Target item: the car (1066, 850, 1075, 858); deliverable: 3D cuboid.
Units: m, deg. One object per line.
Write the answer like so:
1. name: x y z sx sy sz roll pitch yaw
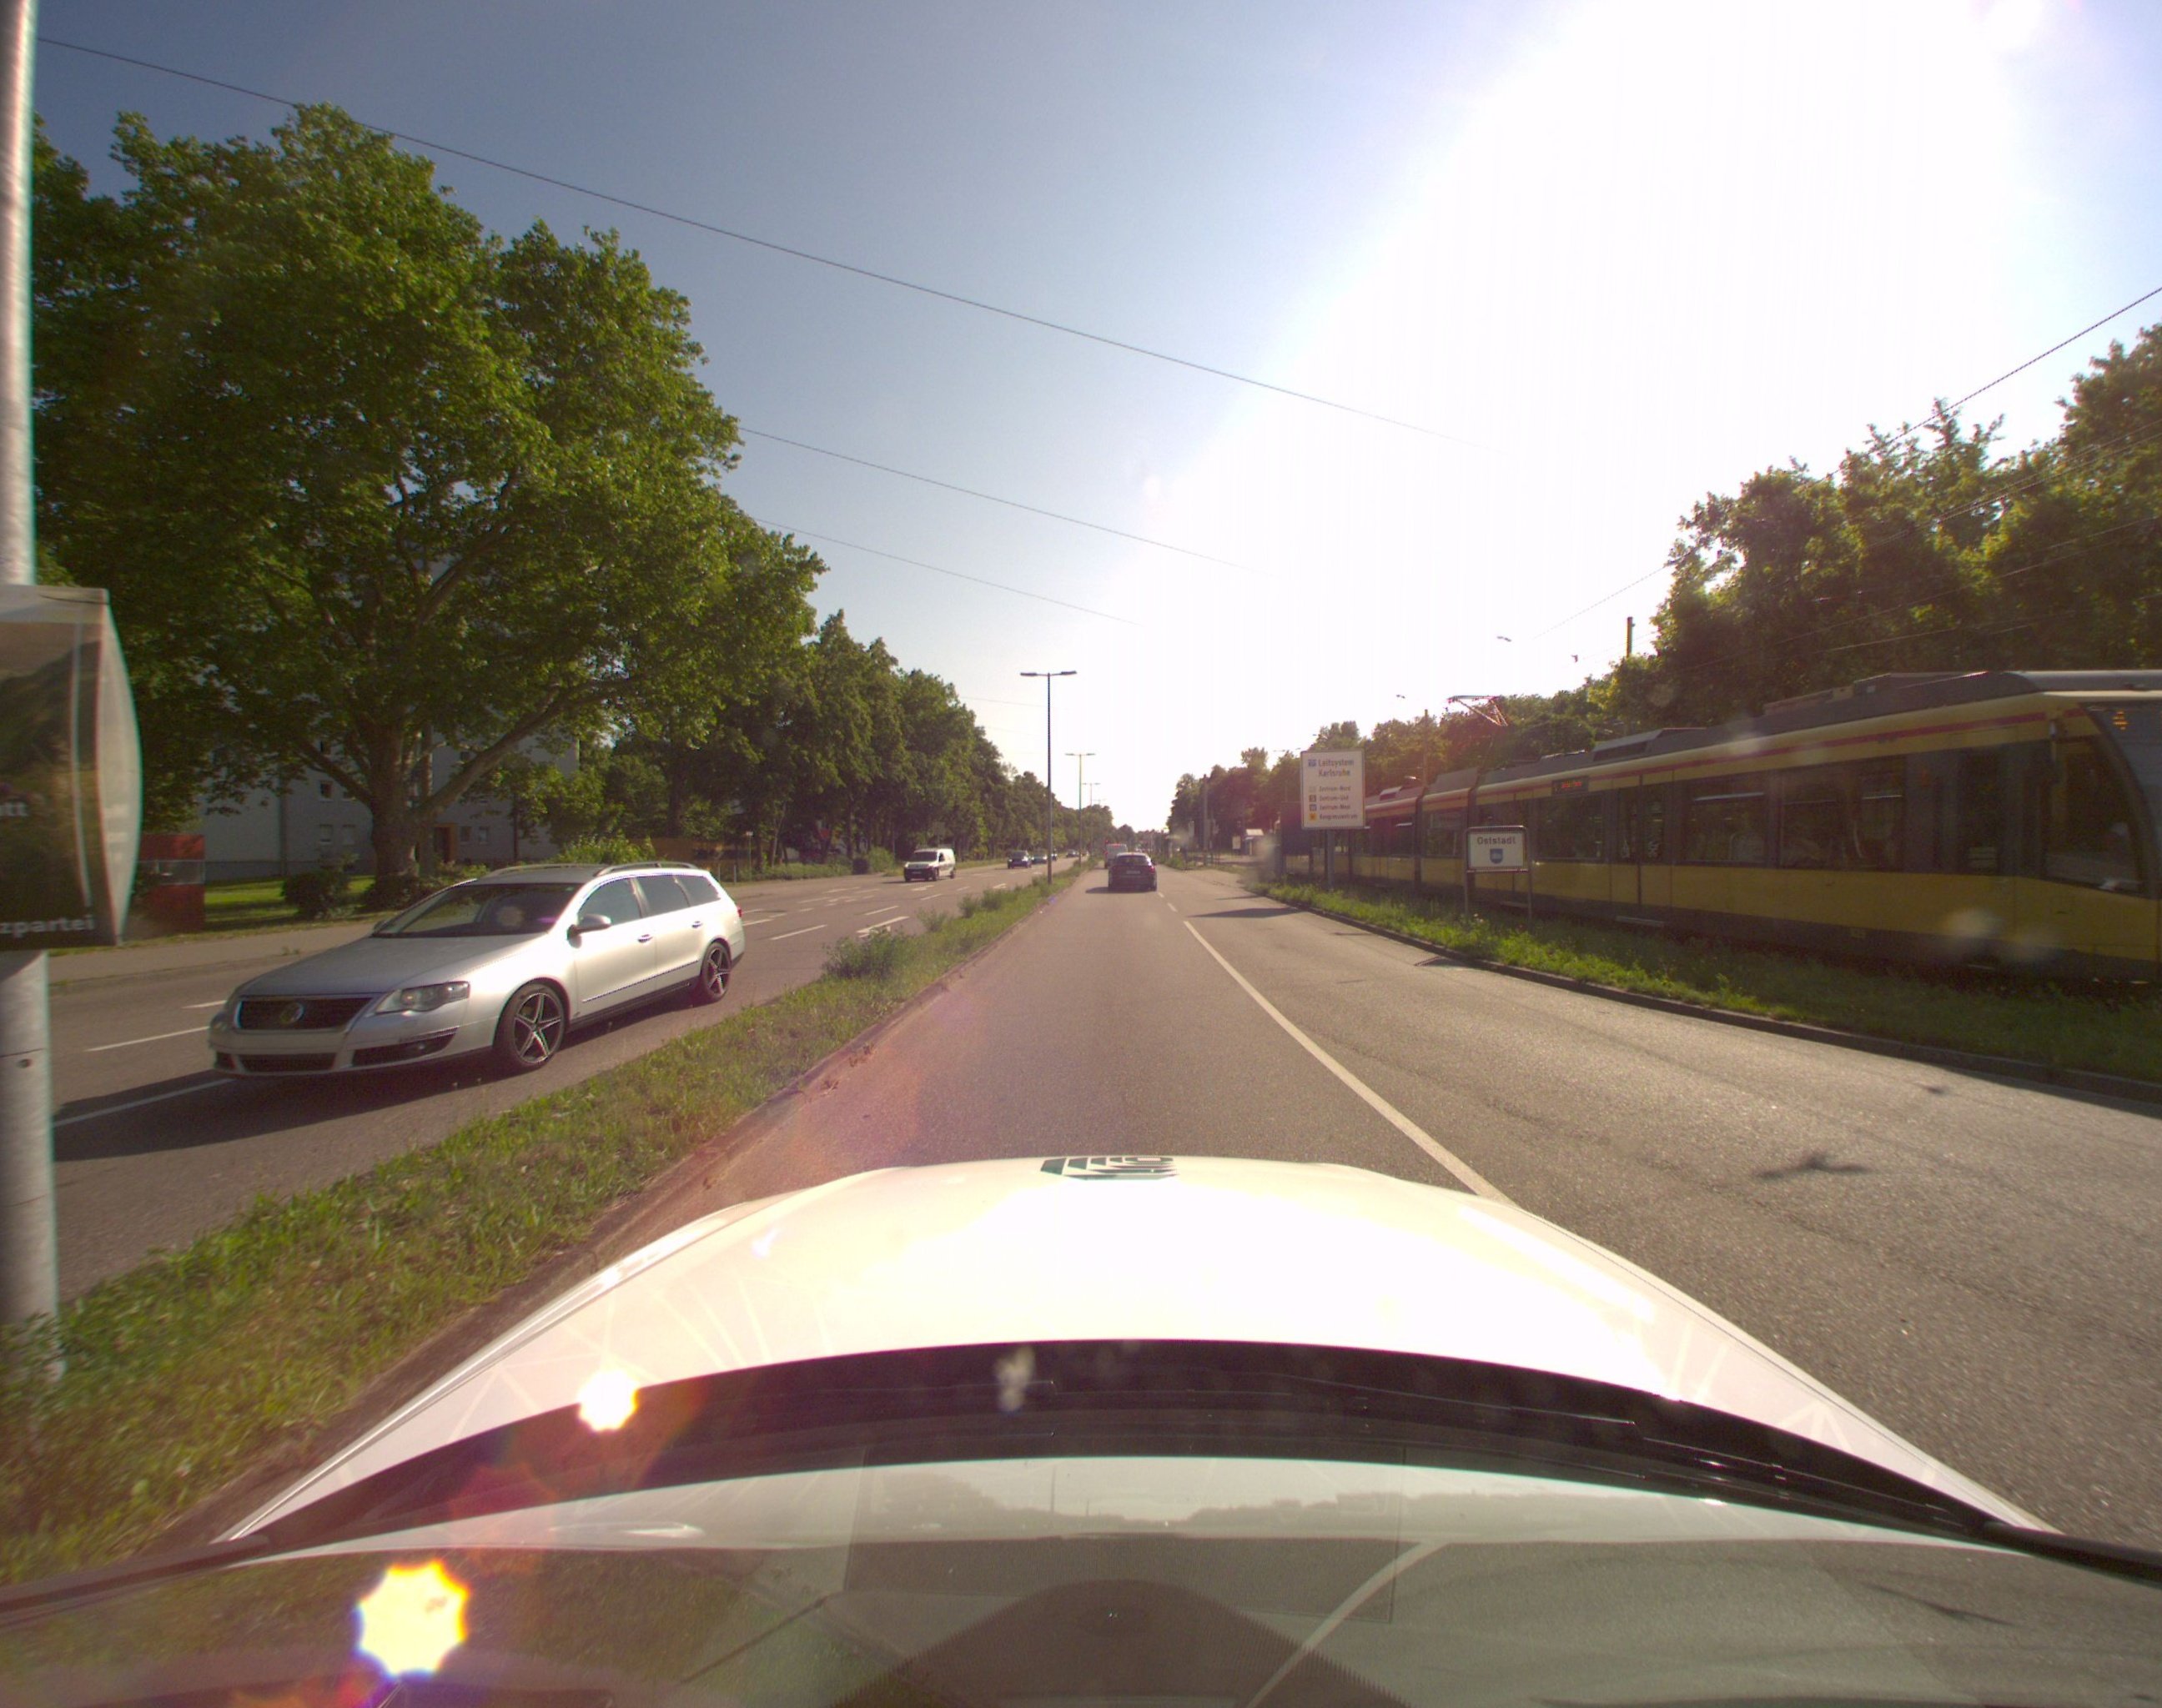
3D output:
1. car: -2.087 -0.003 165.222 1.528 1.486 4.002 -1 0 2

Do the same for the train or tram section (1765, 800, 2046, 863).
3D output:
1. train or tram section: 51.122 -1.297 51.327 12.072 3.579 3.073 0 0 37

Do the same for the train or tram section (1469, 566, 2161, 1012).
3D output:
1. train or tram section: 10.389 -0.515 13.049 2.785 3.618 12.965 0 0 3

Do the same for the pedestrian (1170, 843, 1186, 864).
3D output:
1. pedestrian: 7.820 -0.040 65.680 0.988 1.634 0.726 0 1 36

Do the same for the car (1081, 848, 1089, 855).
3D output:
1. car: 0.905 -0.641 201.297 1.843 1.552 4.002 -1 0 2

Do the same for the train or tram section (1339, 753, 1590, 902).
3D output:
1. train or tram section: 10.931 -0.628 25.080 2.740 3.554 11.260 0 0 2

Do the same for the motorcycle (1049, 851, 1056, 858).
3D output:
1. motorcycle: -4.001 0.105 113.882 0.774 0.948 2.403 0 0 2

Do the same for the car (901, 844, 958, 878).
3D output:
1. car: -8.324 0.353 45.159 1.779 1.772 4.578 -1 0 6

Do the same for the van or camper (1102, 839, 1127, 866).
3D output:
1. van or camper: 2.835 -0.140 68.055 1.986 2.096 4.601 -1 0 2

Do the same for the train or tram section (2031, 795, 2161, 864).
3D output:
1. train or tram section: 58.592 -1.288 42.046 3.065 3.579 12.106 -1 0 -32

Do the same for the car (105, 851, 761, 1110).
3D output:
1. car: -4.817 0.755 7.208 1.841 1.477 4.650 -2 0 3

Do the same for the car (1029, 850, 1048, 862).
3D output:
1. car: -4.909 0.264 94.638 1.781 1.328 4.740 0 0 3

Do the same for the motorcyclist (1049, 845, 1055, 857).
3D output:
1. motorcyclist: -4.010 -0.427 113.866 0.760 1.552 0.800 -1 0 2

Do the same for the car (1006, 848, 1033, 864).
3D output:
1. car: -5.459 0.161 72.908 1.781 1.415 4.391 0 1 4

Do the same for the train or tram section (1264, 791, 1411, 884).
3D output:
1. train or tram section: 11.338 -0.606 38.149 2.674 3.481 14.975 0 0 2

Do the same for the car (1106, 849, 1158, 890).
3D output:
1. car: 2.028 0.553 32.315 1.895 1.505 4.069 -1 0 4
